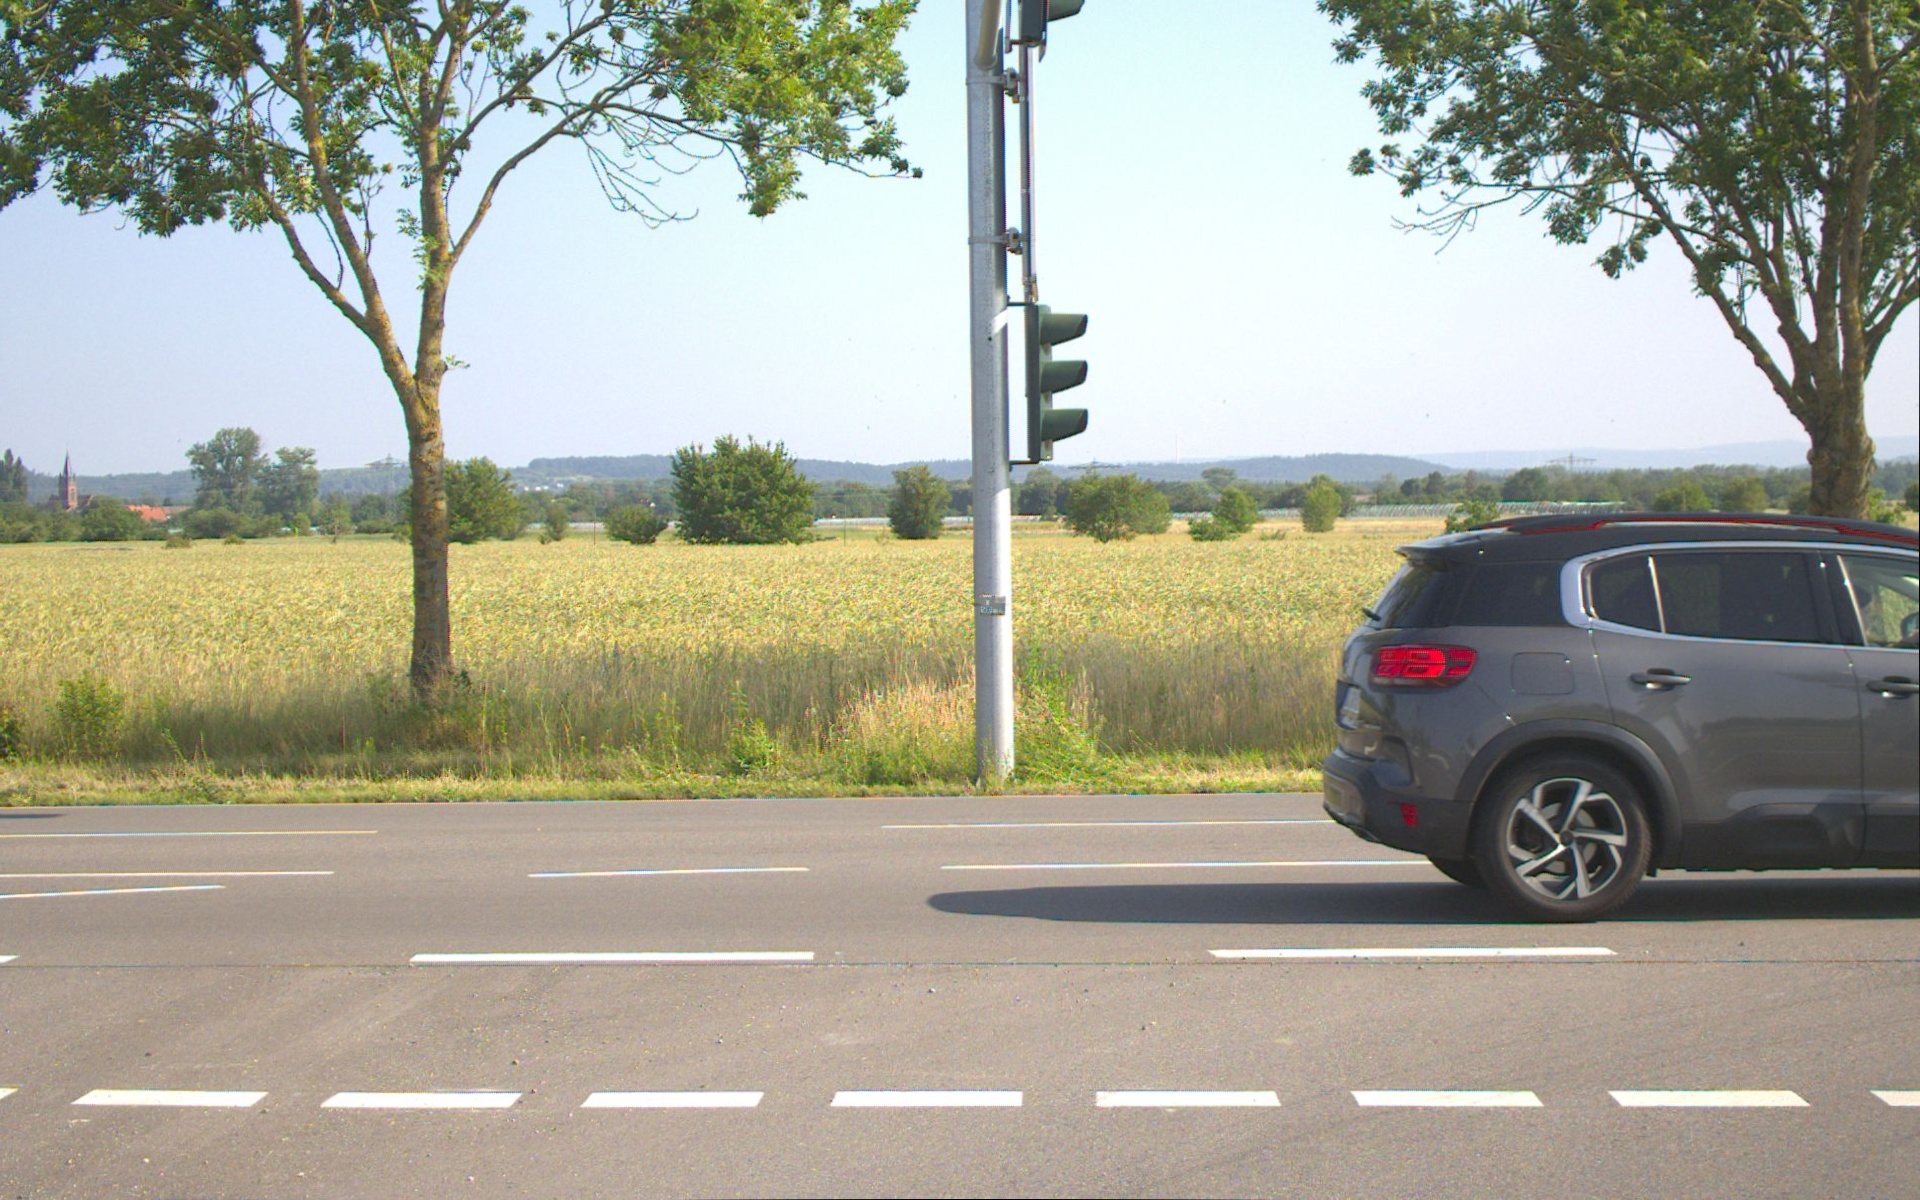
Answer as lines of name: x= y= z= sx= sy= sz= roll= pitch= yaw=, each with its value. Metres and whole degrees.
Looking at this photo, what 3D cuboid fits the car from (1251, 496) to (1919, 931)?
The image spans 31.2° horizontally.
car: x=3.693 y=0.474 z=14.859 sx=4.602 sy=1.717 sz=2.000 roll=1 pitch=0 yaw=-3
